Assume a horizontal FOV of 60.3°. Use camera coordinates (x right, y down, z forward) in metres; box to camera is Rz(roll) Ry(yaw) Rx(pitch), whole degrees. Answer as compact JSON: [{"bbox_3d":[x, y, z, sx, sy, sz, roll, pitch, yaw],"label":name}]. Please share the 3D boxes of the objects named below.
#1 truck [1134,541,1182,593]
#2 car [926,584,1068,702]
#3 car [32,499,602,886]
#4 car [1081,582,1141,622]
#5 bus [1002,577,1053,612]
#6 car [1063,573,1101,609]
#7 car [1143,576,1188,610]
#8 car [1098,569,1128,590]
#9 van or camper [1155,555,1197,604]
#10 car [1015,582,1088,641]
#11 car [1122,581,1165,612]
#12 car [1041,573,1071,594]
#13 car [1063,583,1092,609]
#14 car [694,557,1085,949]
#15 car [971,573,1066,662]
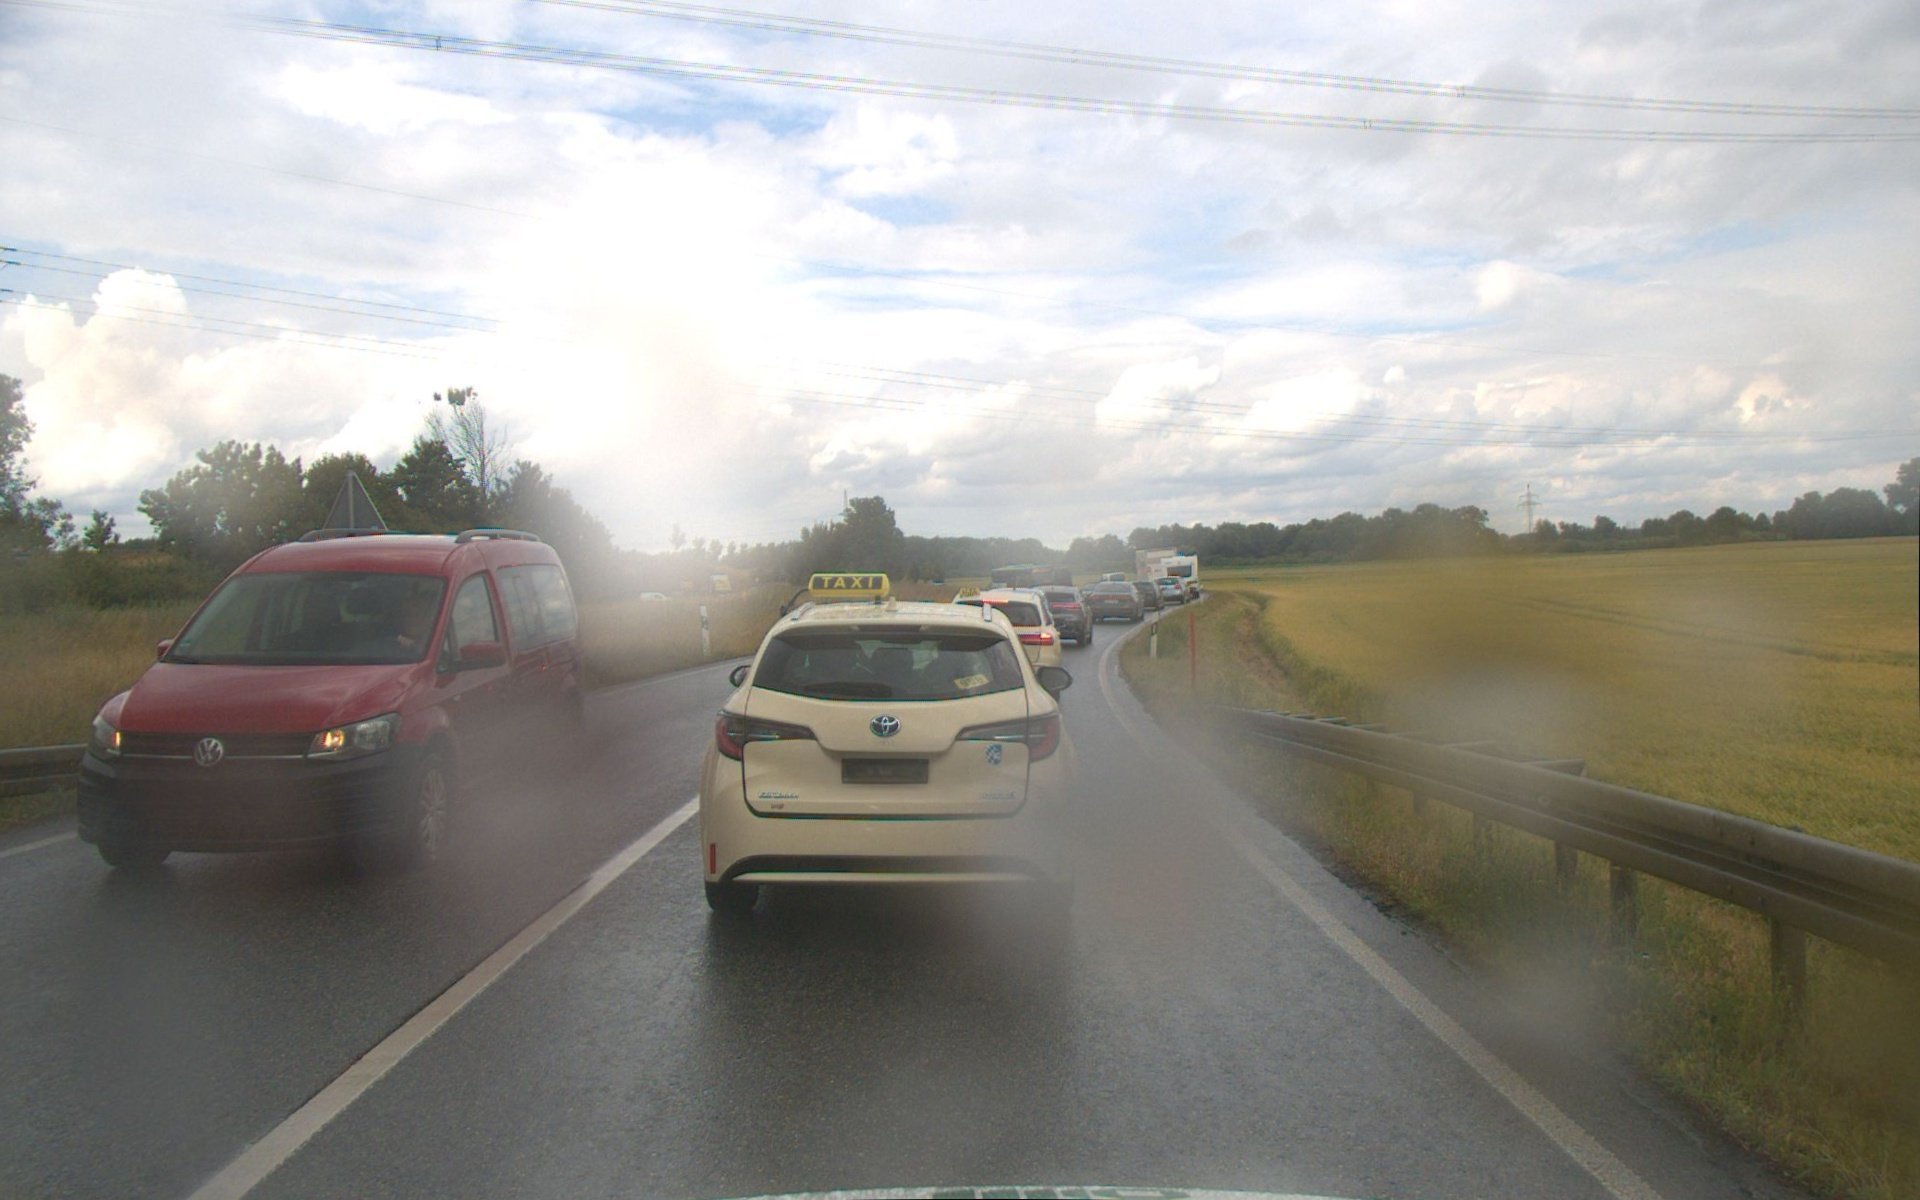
[{"bbox_3d":[15.759,-2.582,131.937,3.062,3.920,7.387,1,0,1],"label":"truck"},{"bbox_3d":[0.634,0.540,24.054,1.802,1.518,4.611,1,1,5],"label":"car"},{"bbox_3d":[-3.641,0.439,10.364,1.764,1.883,4.520,0,0,0],"label":"car"},{"bbox_3d":[5.761,0.088,62.795,1.918,1.438,4.396,1,0,10],"label":"car"},{"bbox_3d":[6.638,-0.584,164.920,2.707,3.355,12.478,0,1,-9],"label":"bus"},{"bbox_3d":[6.895,-0.471,93.293,1.866,1.982,4.145,1,0,7],"label":"car"},{"bbox_3d":[11.151,-0.382,89.539,1.918,1.759,3.741,1,0,16],"label":"car"},{"bbox_3d":[13.961,-1.885,151.192,1.847,1.804,4.153,1,0,-7],"label":"car"},{"bbox_3d":[13.636,-1.293,104.207,2.482,2.946,6.749,0,1,9],"label":"van or camper"},{"bbox_3d":[2.396,0.289,42.759,1.578,1.438,3.741,1,0,8],"label":"car"},{"bbox_3d":[8.789,-0.141,78.894,1.786,1.438,3.741,1,0,10],"label":"car"},{"bbox_3d":[9.726,-1.664,168.180,1.711,2.049,4.129,1,0,-16],"label":"car"},{"bbox_3d":[9.462,-0.324,133.869,1.953,2.049,4.245,1,0,-1],"label":"car"},{"bbox_3d":[-0.354,0.640,8.628,1.580,1.589,3.736,1,0,-2],"label":"car"},{"bbox_3d":[1.235,0.342,33.593,1.578,1.688,3.741,1,0,7],"label":"car"}]
